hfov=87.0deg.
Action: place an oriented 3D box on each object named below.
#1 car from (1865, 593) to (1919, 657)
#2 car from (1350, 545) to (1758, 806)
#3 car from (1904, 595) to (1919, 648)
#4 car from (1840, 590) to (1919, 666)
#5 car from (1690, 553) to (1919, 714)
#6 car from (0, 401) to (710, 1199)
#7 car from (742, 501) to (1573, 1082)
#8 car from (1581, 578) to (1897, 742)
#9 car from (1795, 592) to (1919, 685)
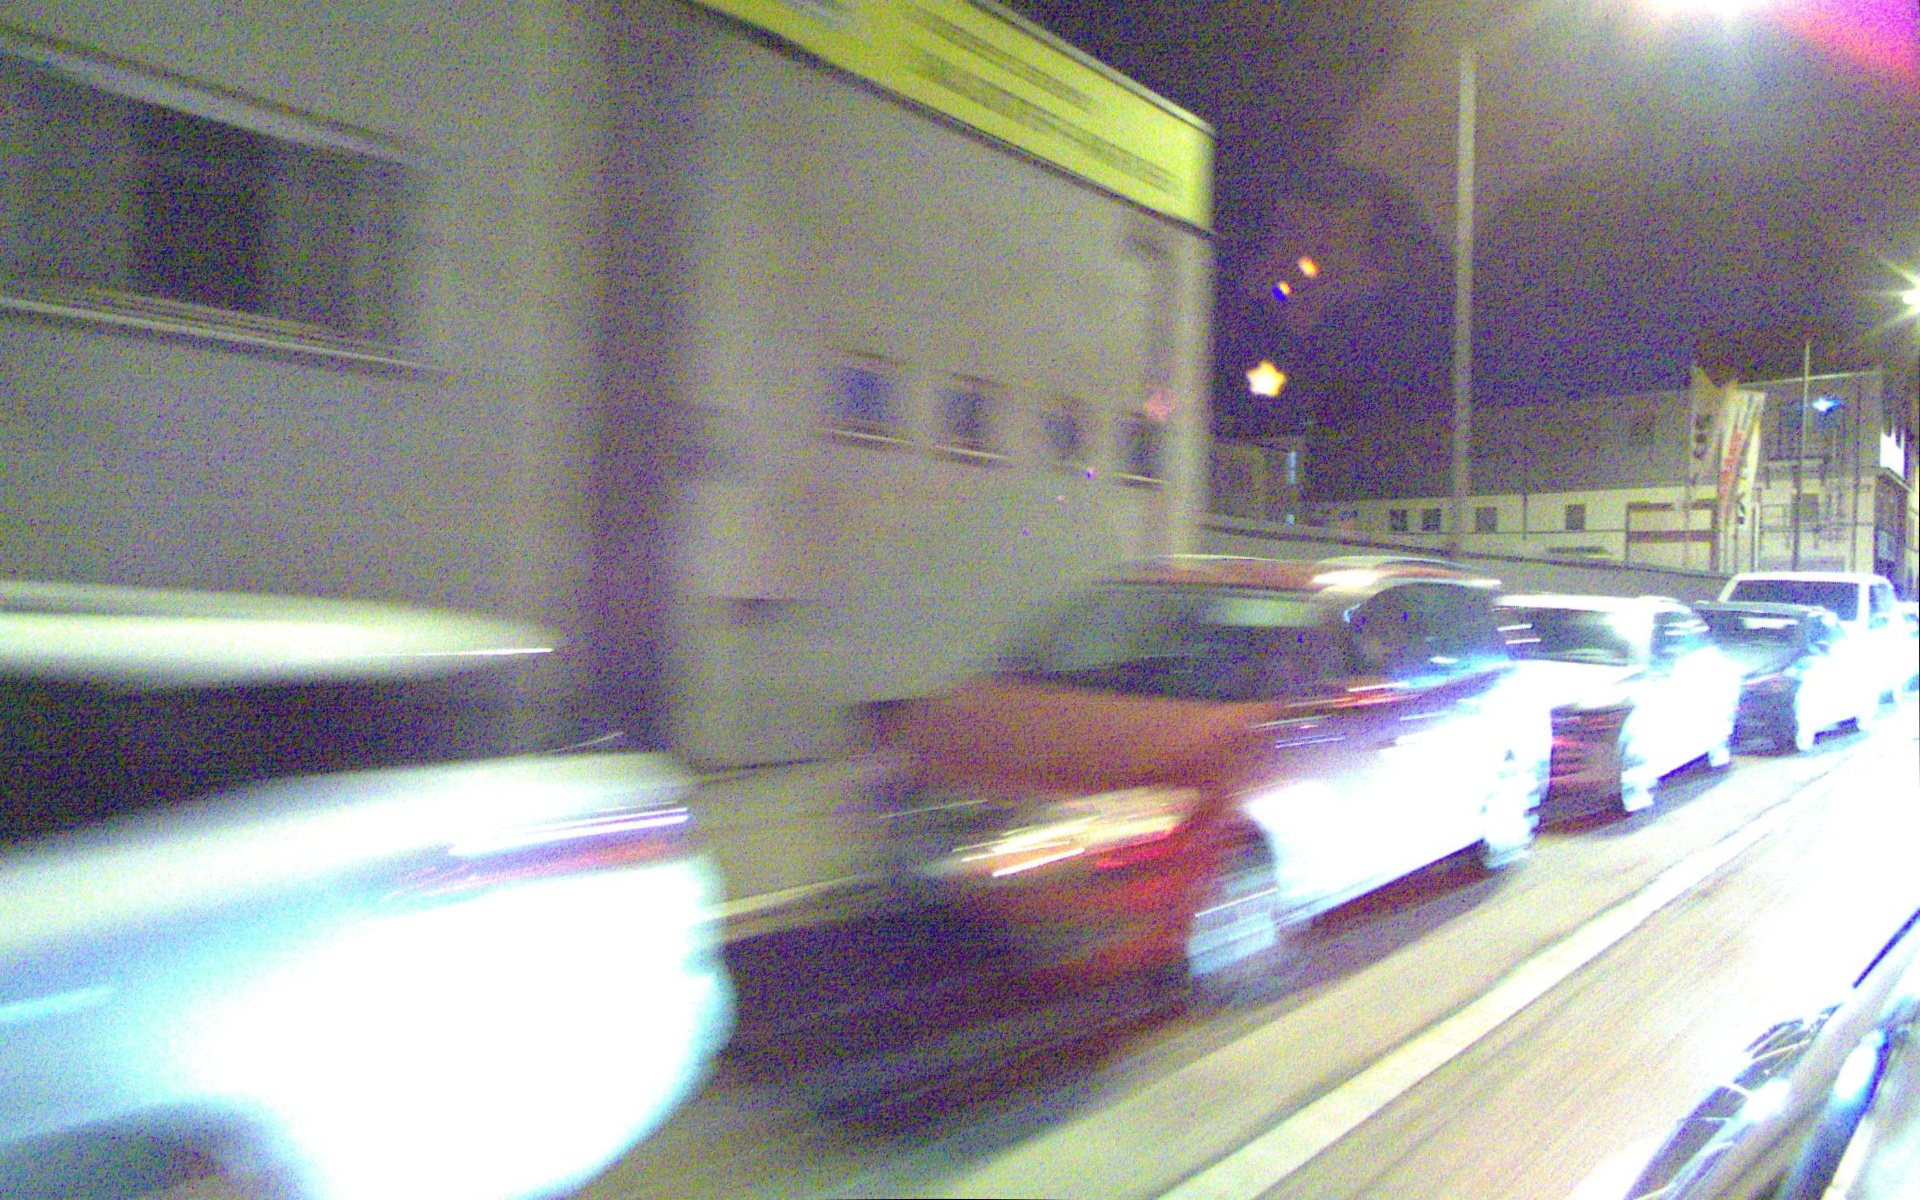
[{"bbox_3d":[23.534,0.574,24.682,3.825,1.444,1.781,-1,1,-42],"label":"car"},{"bbox_3d":[5.175,0.431,8.493,4.553,1.608,1.825,0,2,-45],"label":"car"},{"bbox_3d":[28.697,0.596,29.091,4.402,1.444,1.782,-1,1,-40],"label":"car"},{"bbox_3d":[20.254,0.549,21.682,3.654,1.485,1.598,-1,1,-41],"label":"car"},{"bbox_3d":[12.189,0.381,14.443,4.690,1.898,1.804,0,3,-41],"label":"car"},{"bbox_3d":[-2.738,0.514,1.221,4.471,1.563,1.776,-1,1,-44],"label":"car"},{"bbox_3d":[1.318,0.512,5.034,4.383,1.643,1.826,0,2,-43],"label":"car"},{"bbox_3d":[8.754,0.543,11.258,4.113,1.445,1.821,0,2,-39],"label":"car"},{"bbox_3d":[16.678,0.617,18.458,3.823,1.485,1.598,-1,1,-41],"label":"car"}]
